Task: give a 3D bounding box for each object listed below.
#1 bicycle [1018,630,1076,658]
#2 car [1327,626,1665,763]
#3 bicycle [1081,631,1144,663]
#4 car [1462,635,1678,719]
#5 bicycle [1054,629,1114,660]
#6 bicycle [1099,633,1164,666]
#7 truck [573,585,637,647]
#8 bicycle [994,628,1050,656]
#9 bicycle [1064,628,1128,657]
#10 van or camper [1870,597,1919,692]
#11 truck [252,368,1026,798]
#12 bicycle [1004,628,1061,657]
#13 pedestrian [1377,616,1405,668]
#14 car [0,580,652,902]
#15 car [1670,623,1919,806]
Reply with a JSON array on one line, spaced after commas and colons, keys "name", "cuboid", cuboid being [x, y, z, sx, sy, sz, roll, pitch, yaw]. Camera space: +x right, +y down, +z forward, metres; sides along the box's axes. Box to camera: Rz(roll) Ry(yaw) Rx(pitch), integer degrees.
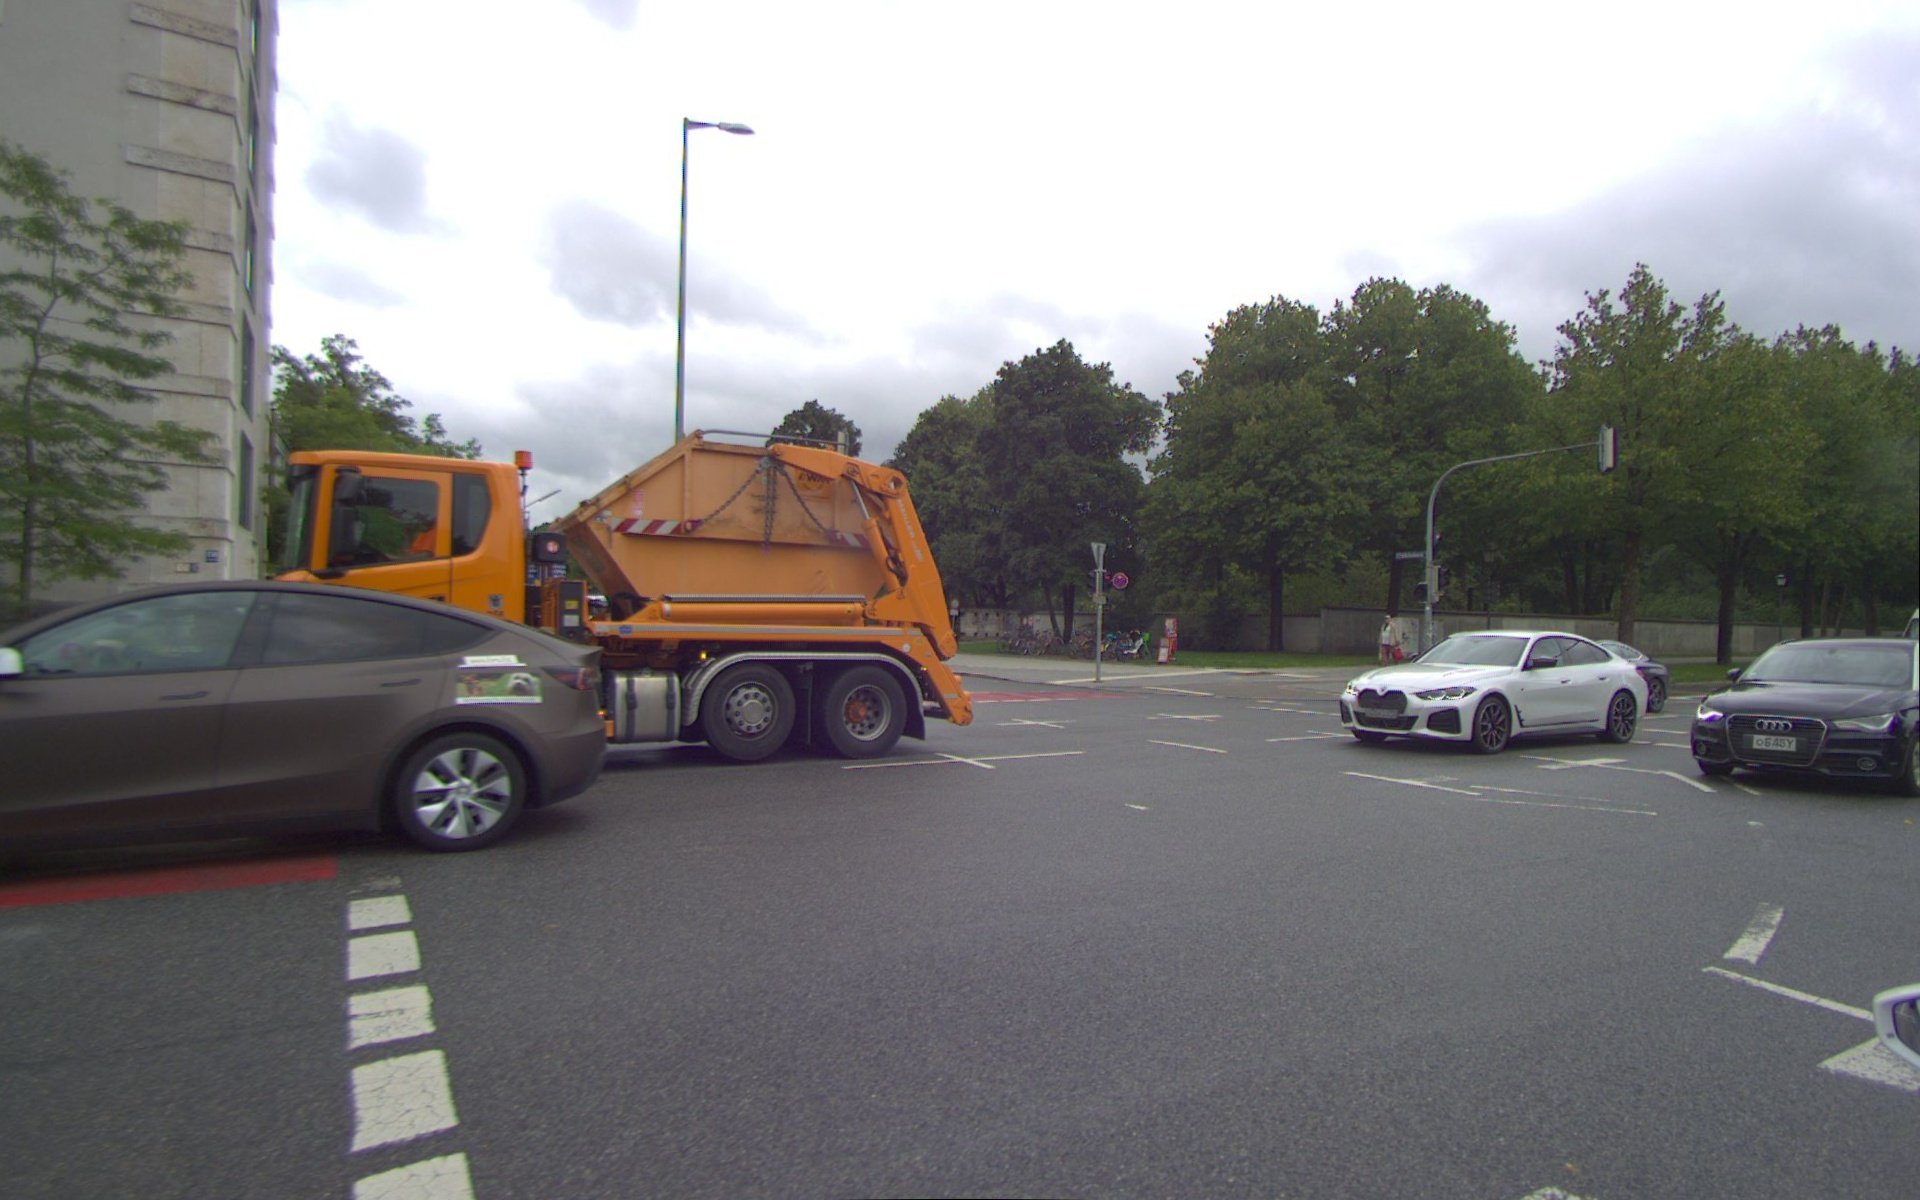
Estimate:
[{"name": "bicycle", "cuboid": [3.757, 1.892, 43.126, 2.469, 1.201, 0.831, 2, -2, -32]}, {"name": "car", "cuboid": [7.097, 1.125, 13.166, 4.686, 1.507, 1.719, 1, -1, -30]}, {"name": "bicycle", "cuboid": [5.898, 1.802, 38.753, 2.469, 1.202, 0.831, 1, -1, -32]}, {"name": "car", "cuboid": [11.574, 1.397, 19.007, 4.166, 1.434, 1.716, 1, -3, -30]}, {"name": "bicycle", "cuboid": [5.057, 1.814, 40.874, 2.469, 1.202, 0.831, 1, -1, -32]}, {"name": "bicycle", "cuboid": [6.434, 1.835, 37.593, 2.469, 1.202, 0.831, 1, -1, -32]}, {"name": "truck", "cuboid": [-21.724, 0.986, 61.273, 2.736, 3.535, 7.771, 1, -1, -26]}, {"name": "bicycle", "cuboid": [2.785, 1.871, 45.074, 2.469, 1.202, 0.831, 1, -1, -32]}, {"name": "bicycle", "cuboid": [5.882, 1.819, 43.346, 2.852, 1.202, 0.831, 1, -1, -32]}, {"name": "van or camper", "cuboid": [30.027, 1.317, 30.100, 6.871, 2.681, 2.167, 1, -3, -31]}, {"name": "truck", "cuboid": [-3.043, -0.009, 10.888, 7.177, 3.400, 2.769, 2, -2, -29]}, {"name": "bicycle", "cuboid": [3.197, 1.859, 44.023, 2.469, 1.202, 0.831, 1, -1, -32]}, {"name": "pedestrian", "cuboid": [14.706, 1.423, 34.295, 0.512, 1.763, 0.703, 1, -1, -35]}, {"name": "car", "cuboid": [-4.464, 0.725, 6.064, 4.694, 1.562, 1.853, 1, -2, -31]}, {"name": "car", "cuboid": [8.942, 1.019, 10.107, 3.739, 1.507, 1.630, 1, -1, -32]}]
